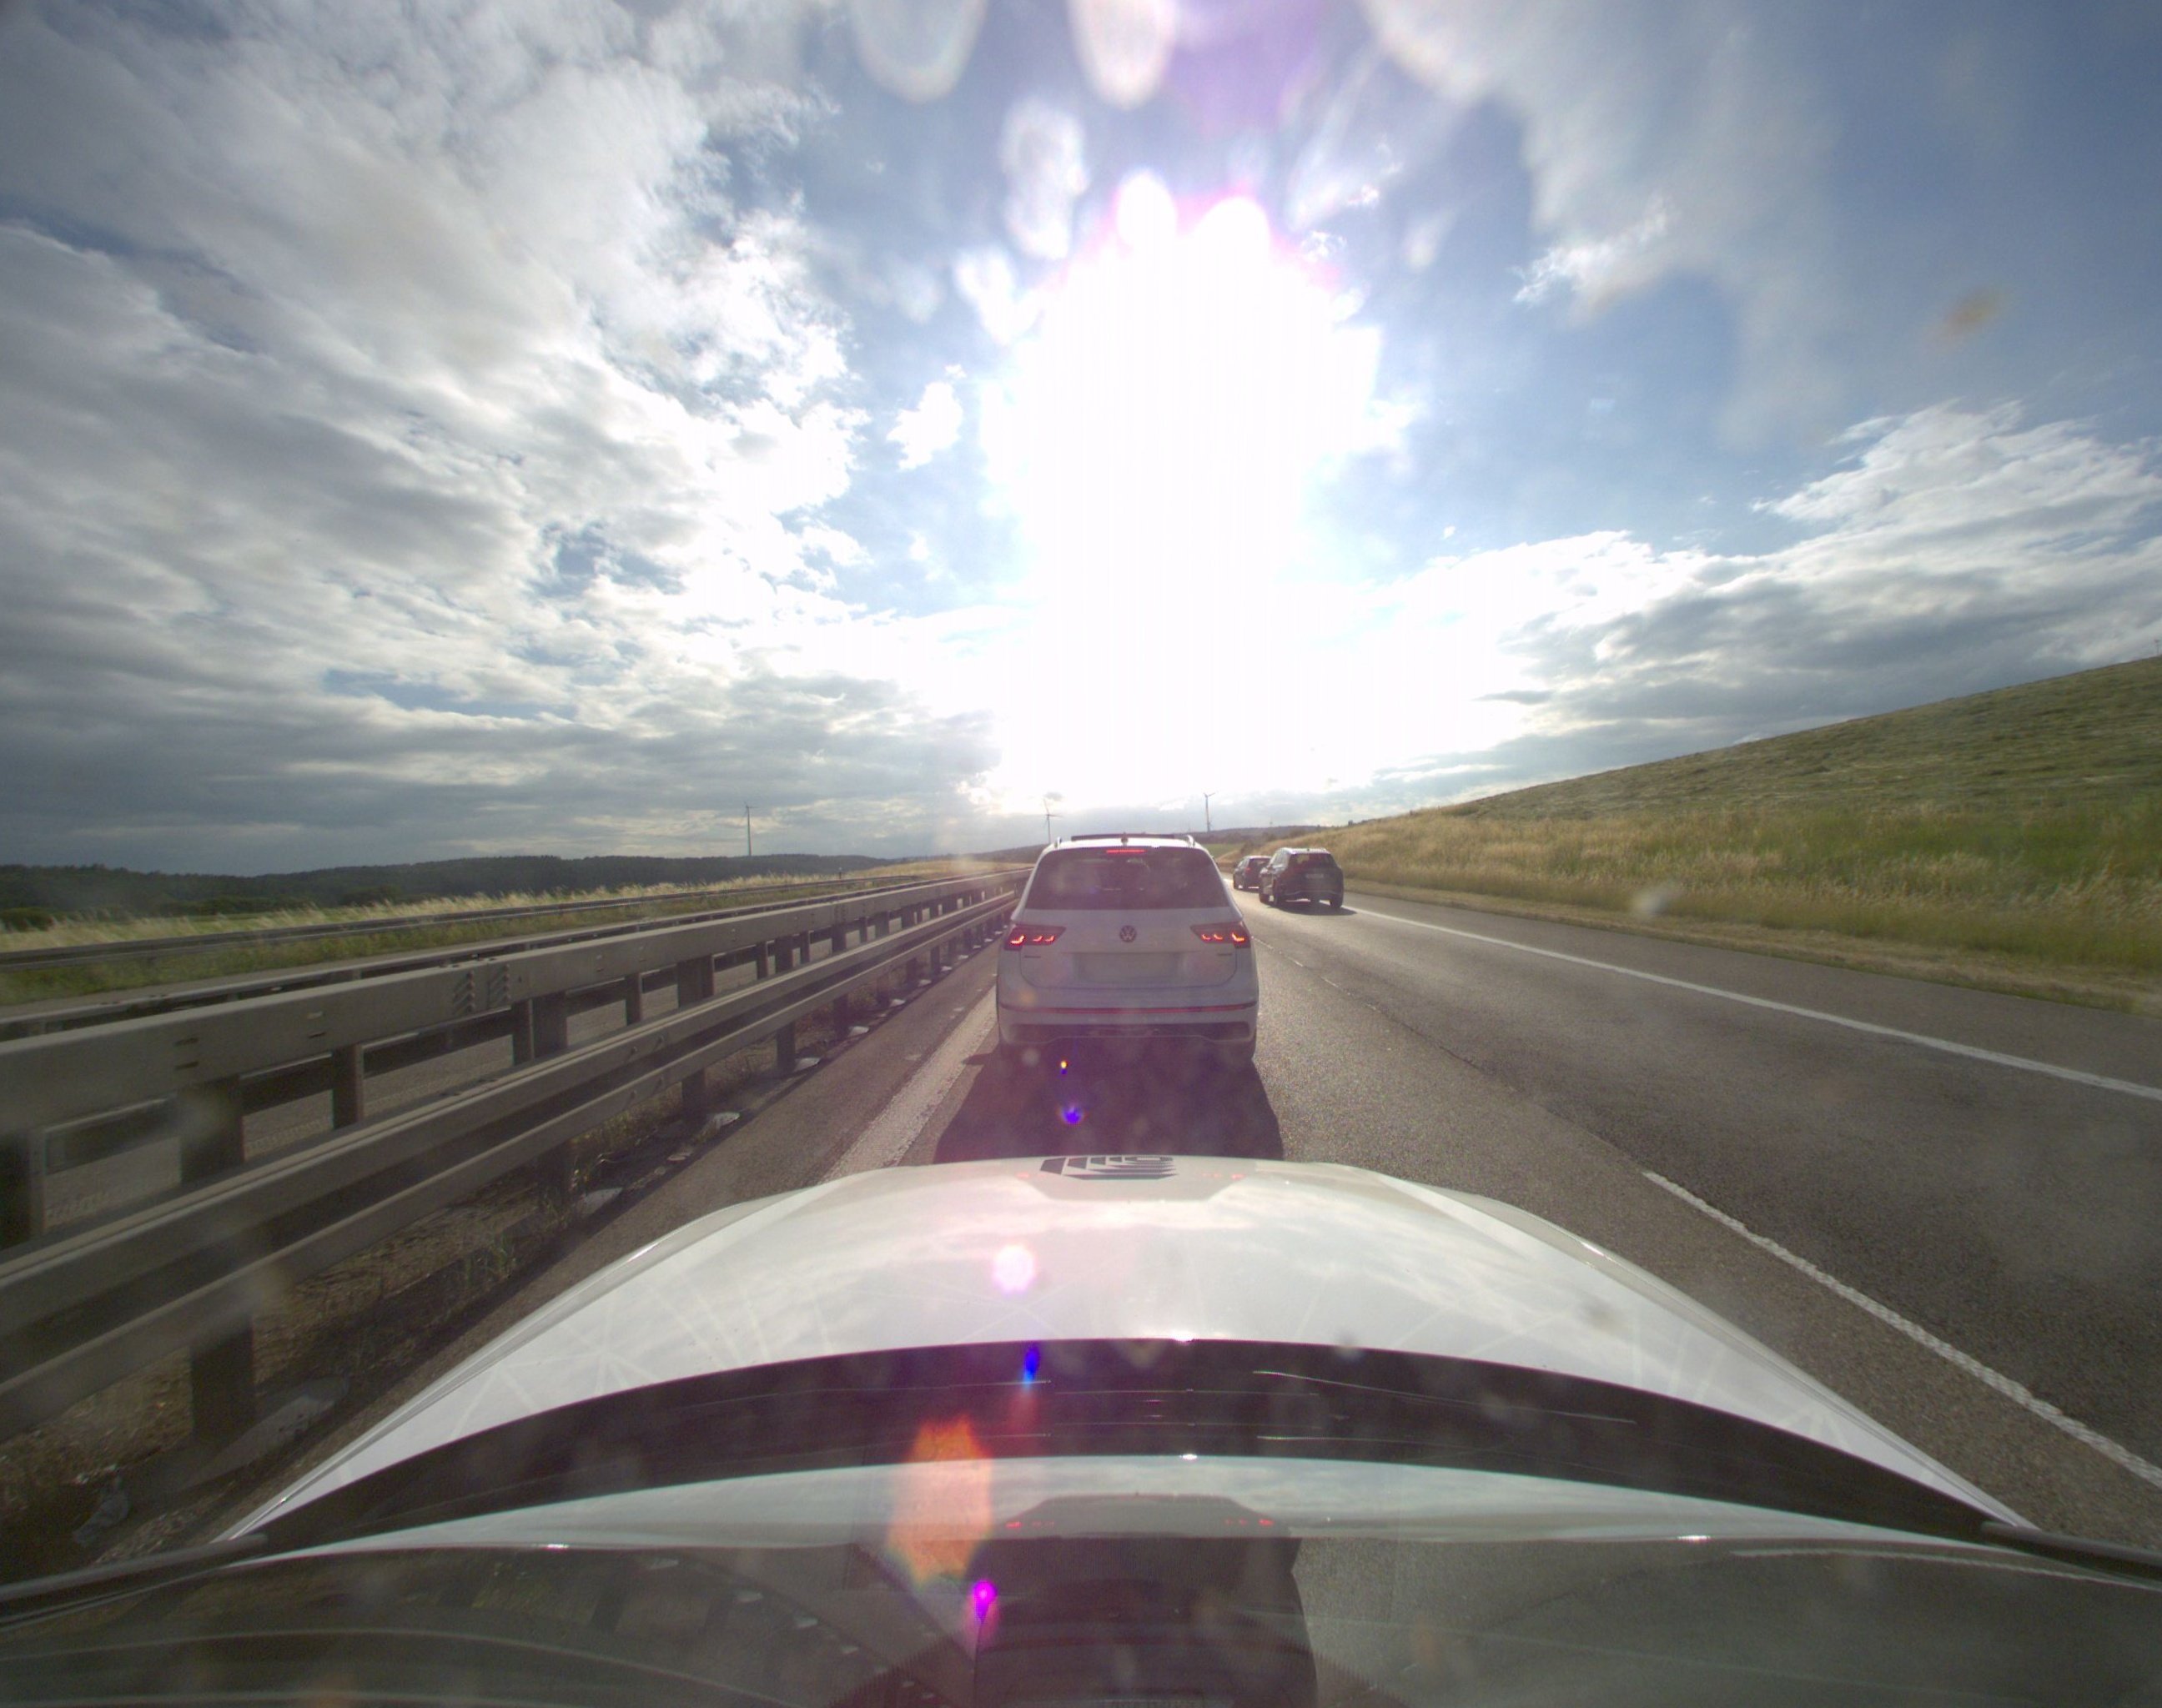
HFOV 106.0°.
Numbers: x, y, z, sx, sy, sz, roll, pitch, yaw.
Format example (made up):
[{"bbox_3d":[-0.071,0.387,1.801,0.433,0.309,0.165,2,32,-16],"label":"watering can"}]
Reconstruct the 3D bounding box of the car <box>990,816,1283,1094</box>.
[{"bbox_3d":[0.404,0.636,7.007,1.763,1.675,4.002,-1,0,2],"label":"car"}]

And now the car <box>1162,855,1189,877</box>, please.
[{"bbox_3d":[7.392,0.917,63.875,1.697,1.650,4.002,-1,0,2],"label":"car"}]

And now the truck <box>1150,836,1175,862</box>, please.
[{"bbox_3d":[11.795,-0.681,119.015,3.170,3.593,11.142,-1,0,4],"label":"truck"}]

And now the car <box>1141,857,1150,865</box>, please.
[{"bbox_3d":[13.898,1.466,175.557,1.697,1.546,4.002,-1,0,2],"label":"car"}]

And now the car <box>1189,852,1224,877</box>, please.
[{"bbox_3d":[7.957,0.654,51.994,1.697,1.546,4.002,-1,0,2],"label":"car"}]

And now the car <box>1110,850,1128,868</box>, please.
[{"bbox_3d":[3.751,0.510,80.277,1.697,1.650,4.002,-1,0,2],"label":"car"}]

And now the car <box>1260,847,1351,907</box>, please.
[{"bbox_3d":[6.471,0.620,23.924,1.813,1.601,4.239,0,0,4],"label":"car"}]

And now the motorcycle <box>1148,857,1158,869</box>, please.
[{"bbox_3d":[7.191,0.878,81.482,0.892,1.190,2.257,-1,-1,1],"label":"motorcycle"}]

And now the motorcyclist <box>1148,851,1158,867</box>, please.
[{"bbox_3d":[7.184,0.521,81.441,0.846,1.560,0.934,-1,-1,1],"label":"motorcyclist"}]

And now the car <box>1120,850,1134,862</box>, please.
[{"bbox_3d":[6.221,0.247,110.182,1.697,1.546,4.002,-1,0,2],"label":"car"}]

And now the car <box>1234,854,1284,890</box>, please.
[{"bbox_3d":[7.480,0.730,34.487,1.598,1.420,3.677,-1,0,5],"label":"car"}]
